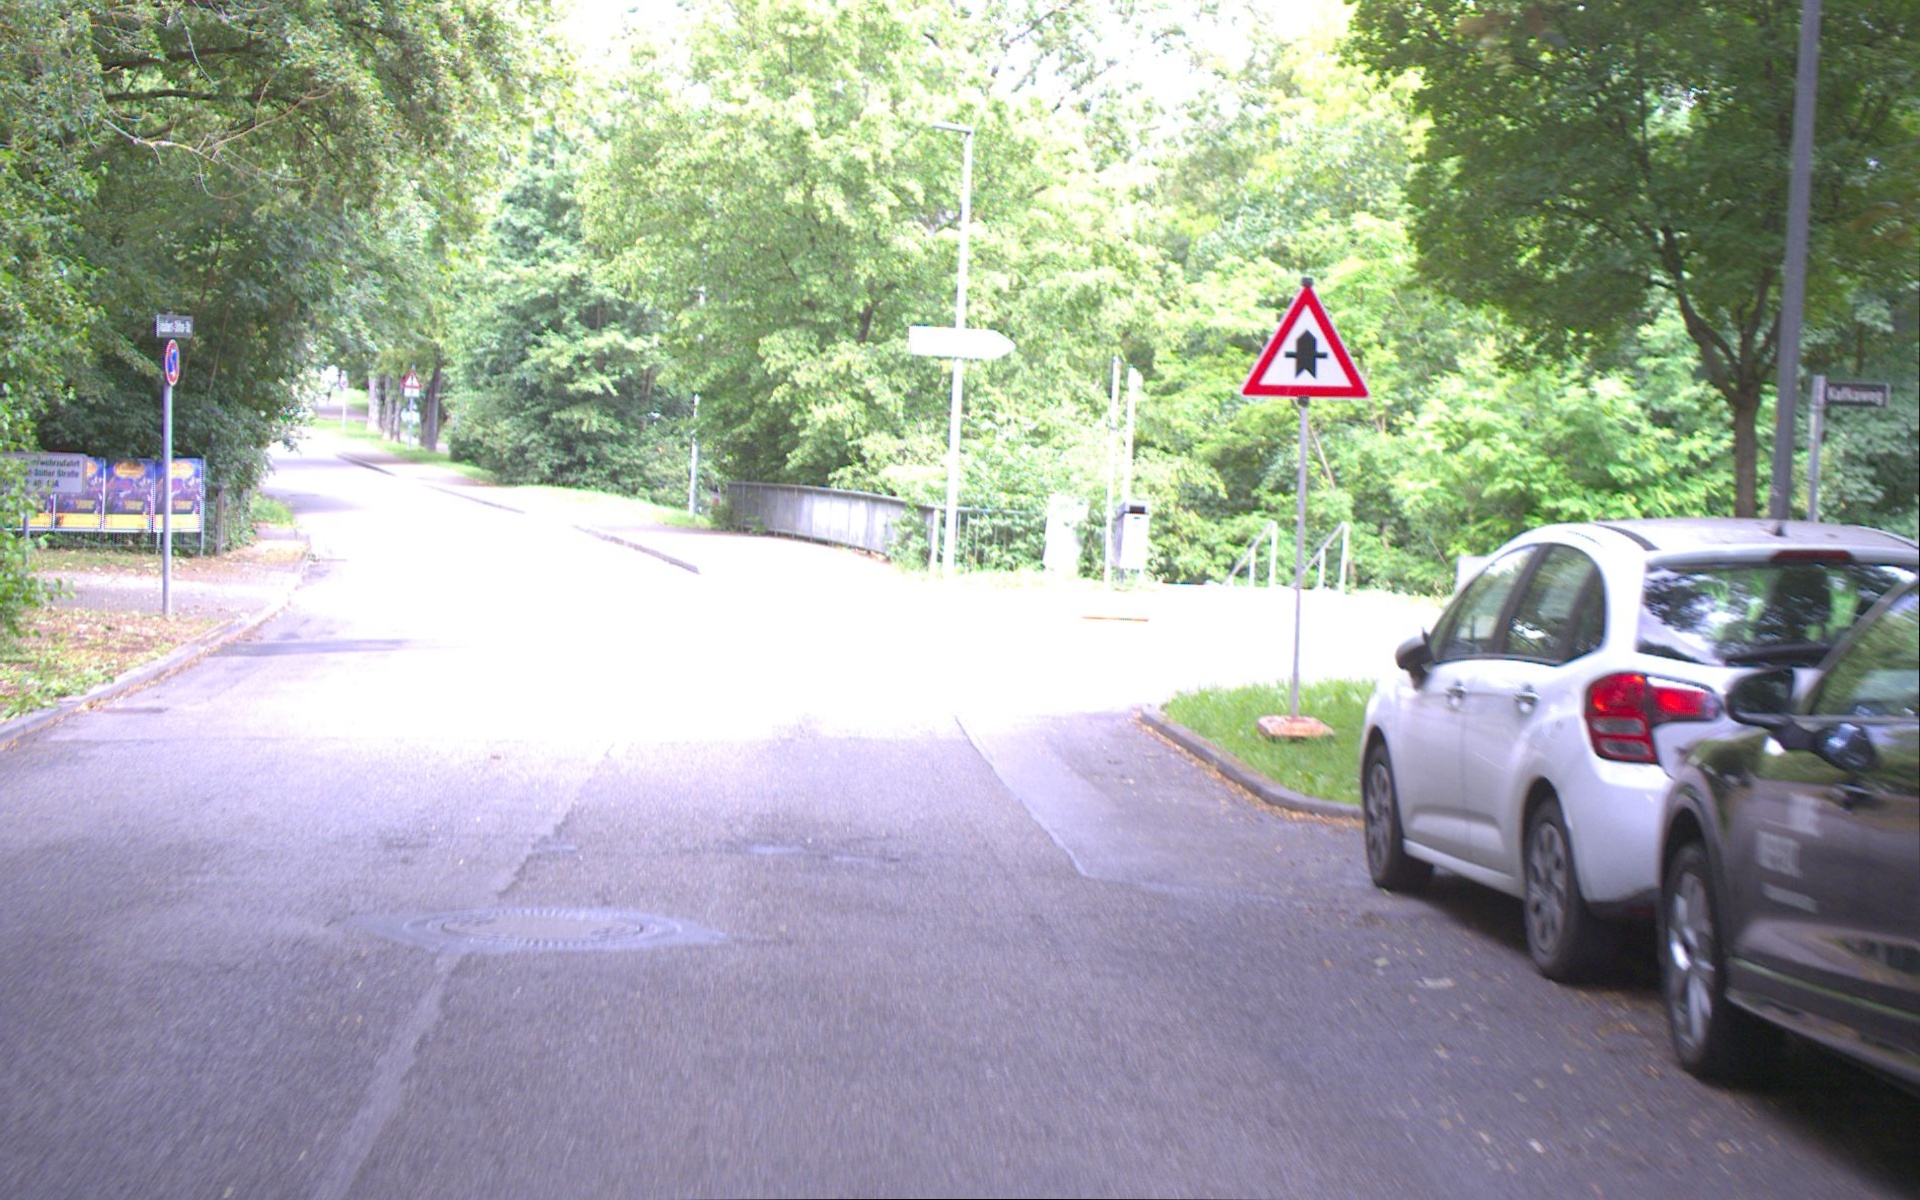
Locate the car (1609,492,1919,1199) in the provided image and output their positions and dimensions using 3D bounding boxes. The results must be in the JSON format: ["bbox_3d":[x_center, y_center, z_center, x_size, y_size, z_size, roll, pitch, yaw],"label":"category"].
[{"bbox_3d":[2.888,0.542,8.061,1.774,1.517,4.184,2,2,-2],"label":"car"}]

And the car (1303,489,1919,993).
[{"bbox_3d":[2.563,0.393,12.539,1.773,1.517,3.782,2,2,-7],"label":"car"}]
